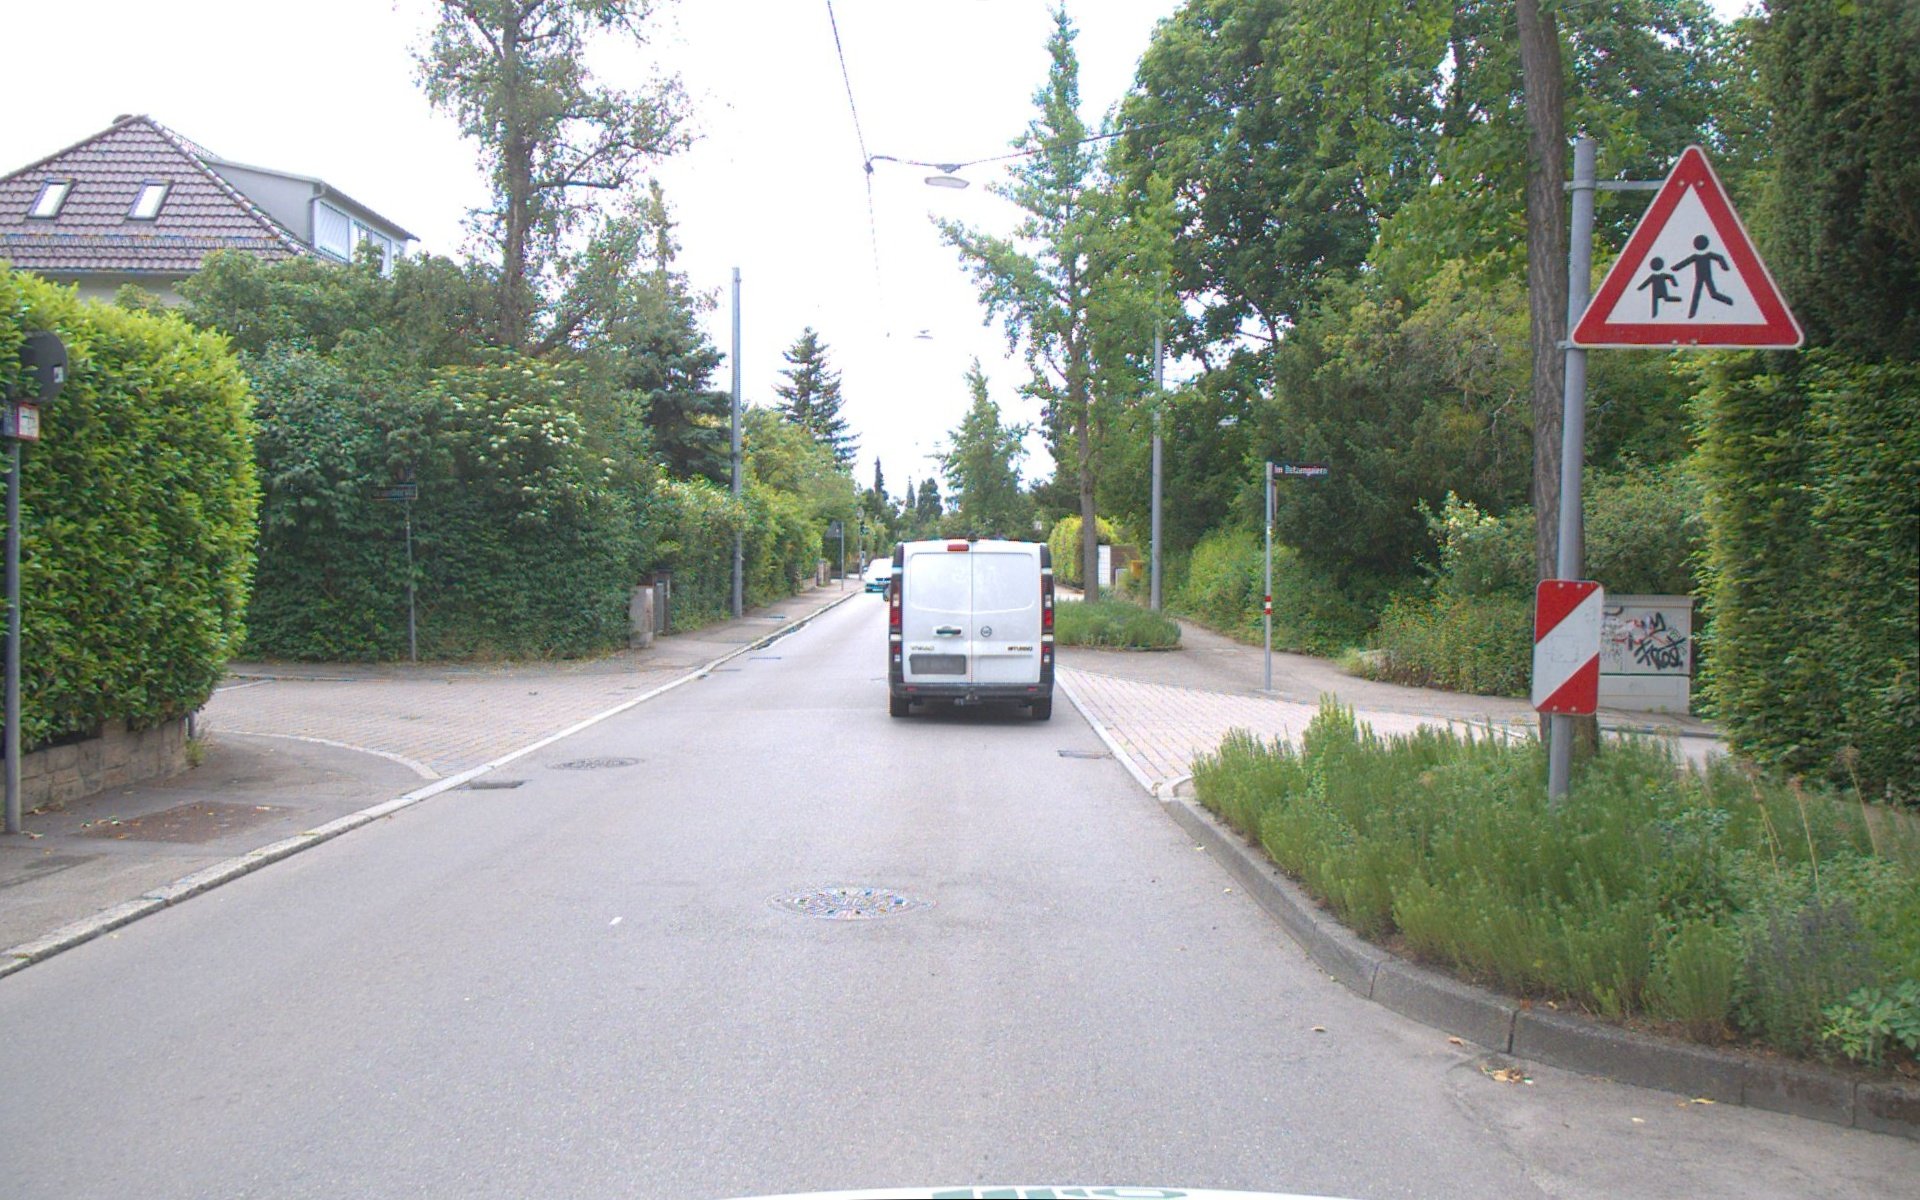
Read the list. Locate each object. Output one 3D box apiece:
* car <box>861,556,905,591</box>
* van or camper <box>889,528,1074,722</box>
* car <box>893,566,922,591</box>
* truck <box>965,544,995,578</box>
[{"bbox_3d":[-3.456,-1.214,74.959,1.768,1.456,4.301,-2,1,0],"label":"car"},{"bbox_3d":[0.169,0.251,19.758,1.900,1.988,4.764,1,0,-1],"label":"van or camper"},{"bbox_3d":[-3.351,-1.384,105.281,1.769,1.456,4.117,-2,1,-2],"label":"car"},{"bbox_3d":[1.559,-3.103,130.796,2.143,2.514,7.430,2,1,-1],"label":"truck"}]
